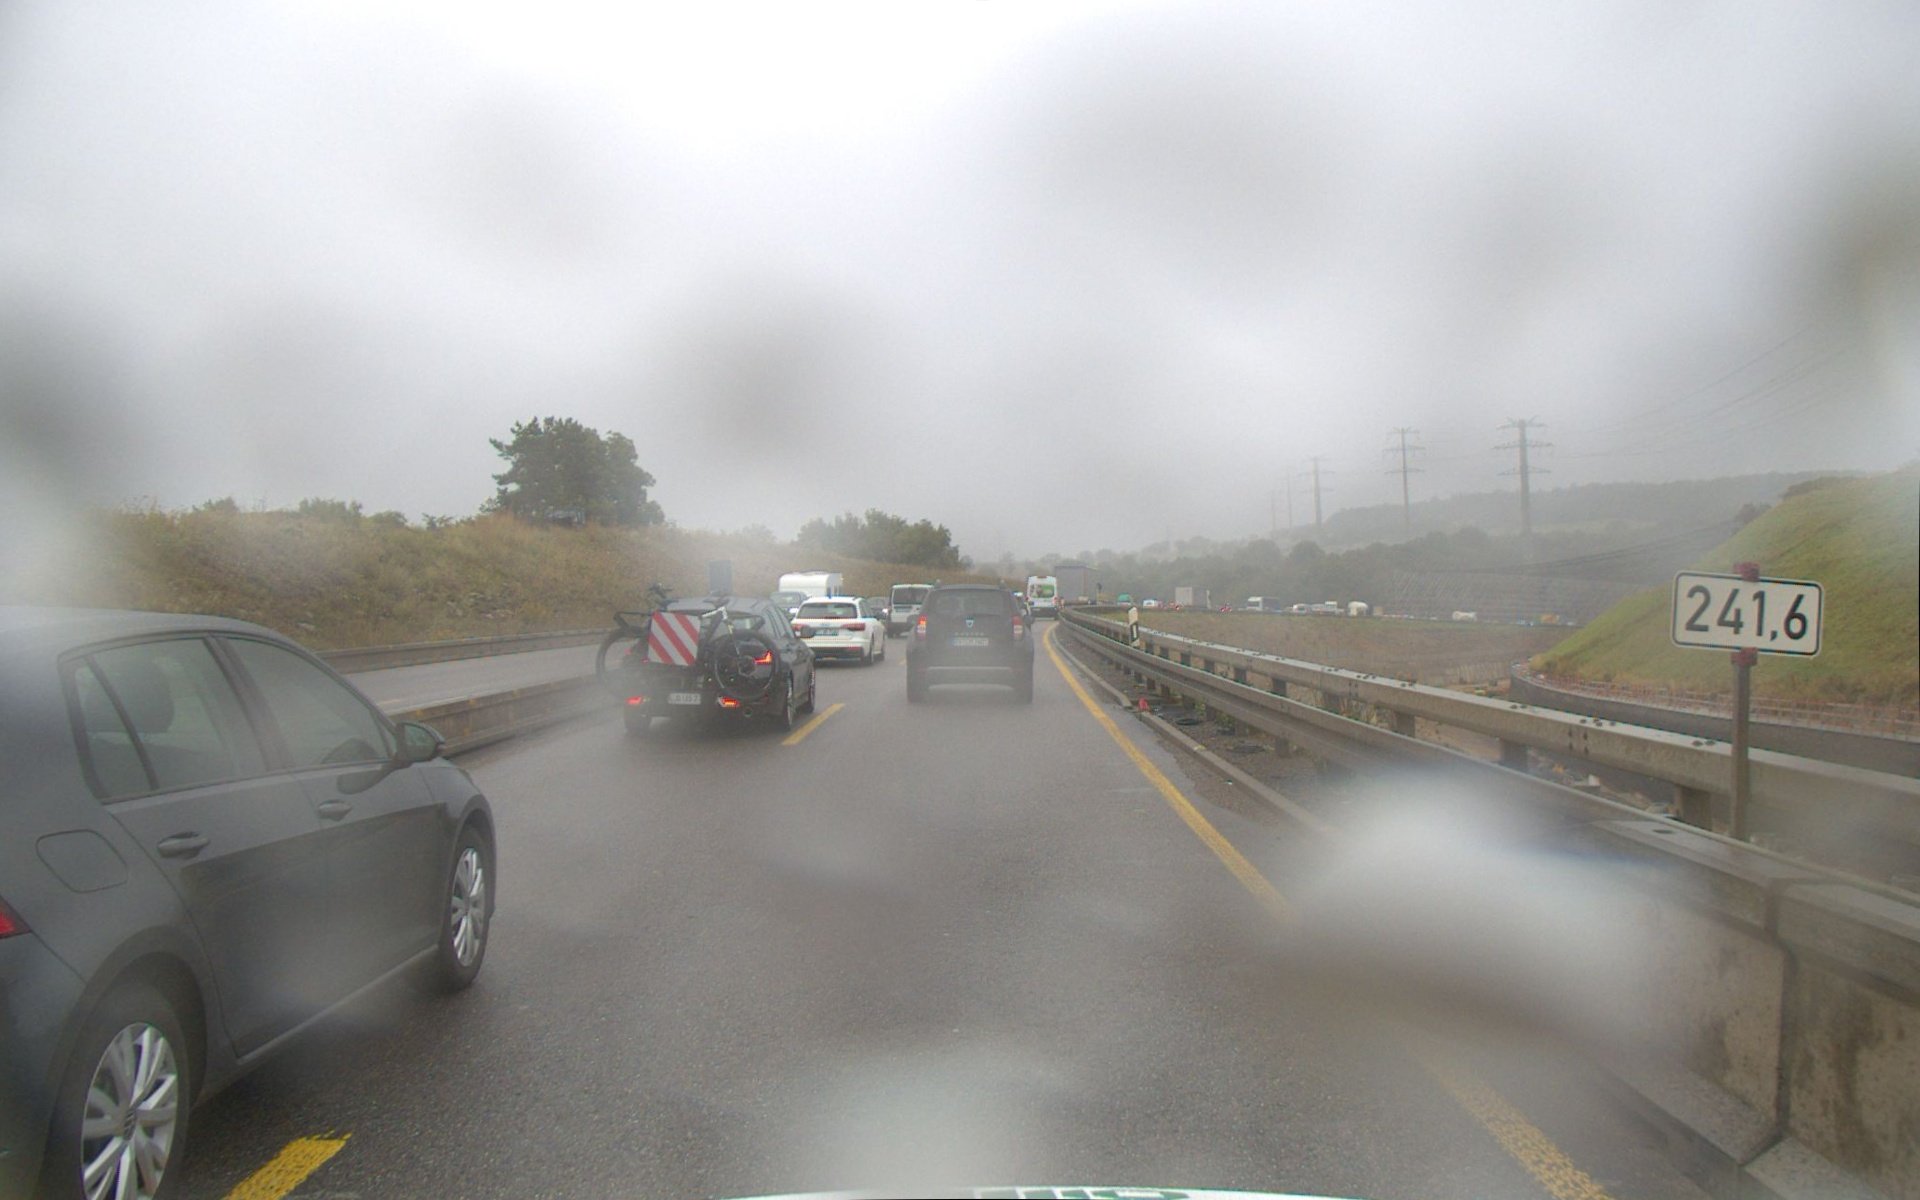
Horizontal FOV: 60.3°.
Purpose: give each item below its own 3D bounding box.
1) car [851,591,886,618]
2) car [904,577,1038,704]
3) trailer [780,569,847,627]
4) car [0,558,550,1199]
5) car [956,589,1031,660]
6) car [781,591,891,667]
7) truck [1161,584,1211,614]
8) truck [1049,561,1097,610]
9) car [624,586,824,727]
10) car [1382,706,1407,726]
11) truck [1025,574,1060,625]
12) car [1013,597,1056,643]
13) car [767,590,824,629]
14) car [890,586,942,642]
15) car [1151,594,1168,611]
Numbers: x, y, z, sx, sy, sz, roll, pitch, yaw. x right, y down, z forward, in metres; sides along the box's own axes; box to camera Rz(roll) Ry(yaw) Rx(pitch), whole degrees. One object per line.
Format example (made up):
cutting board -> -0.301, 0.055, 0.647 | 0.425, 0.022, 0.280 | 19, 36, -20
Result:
car -> -5.629, 0.272, 102.110 | 1.838, 1.526, 4.336 | 1, 1, 1
car -> 0.218, 0.544, 23.767 | 1.767, 1.675, 3.777 | 0, 0, 2
trailer -> -6.878, -0.118, 78.406 | 2.458, 2.609, 7.163 | 1, 0, 0
car -> -2.509, 0.722, 4.840 | 1.581, 1.532, 4.367 | -2, 0, -1
car -> 0.855, 0.614, 43.039 | 1.829, 1.738, 4.000 | 1, 0, 1
car -> -2.576, 0.587, 35.302 | 1.829, 1.486, 4.550 | 1, 0, 2
truck -> 33.355, -0.165, 243.122 | 4.618, 4.222, 15.690 | 1, 0, 17
truck -> 9.325, -1.147, 135.722 | 3.132, 3.827, 8.516 | 1, 0, 8
car -> -2.676, 0.614, 19.544 | 1.791, 1.502, 3.776 | 0, 0, 0
car -> 50.446, 13.474, 192.097 | 2.315, 2.049, 4.003 | 1, 0, 8
truck -> 5.384, -0.013, 108.525 | 2.105, 3.221, 6.461 | 1, 0, 2
car -> 2.804, 0.725, 62.808 | 1.499, 1.669, 4.013 | 1, 0, 1
car -> -7.153, 0.401, 72.269 | 1.953, 1.614, 5.119 | 1, 0, 0
car -> -1.532, 0.482, 58.806 | 1.626, 1.913, 4.020 | 1, 0, 1
car -> 23.827, 0.299, 197.621 | 1.737, 1.949, 4.003 | 1, 0, 11
